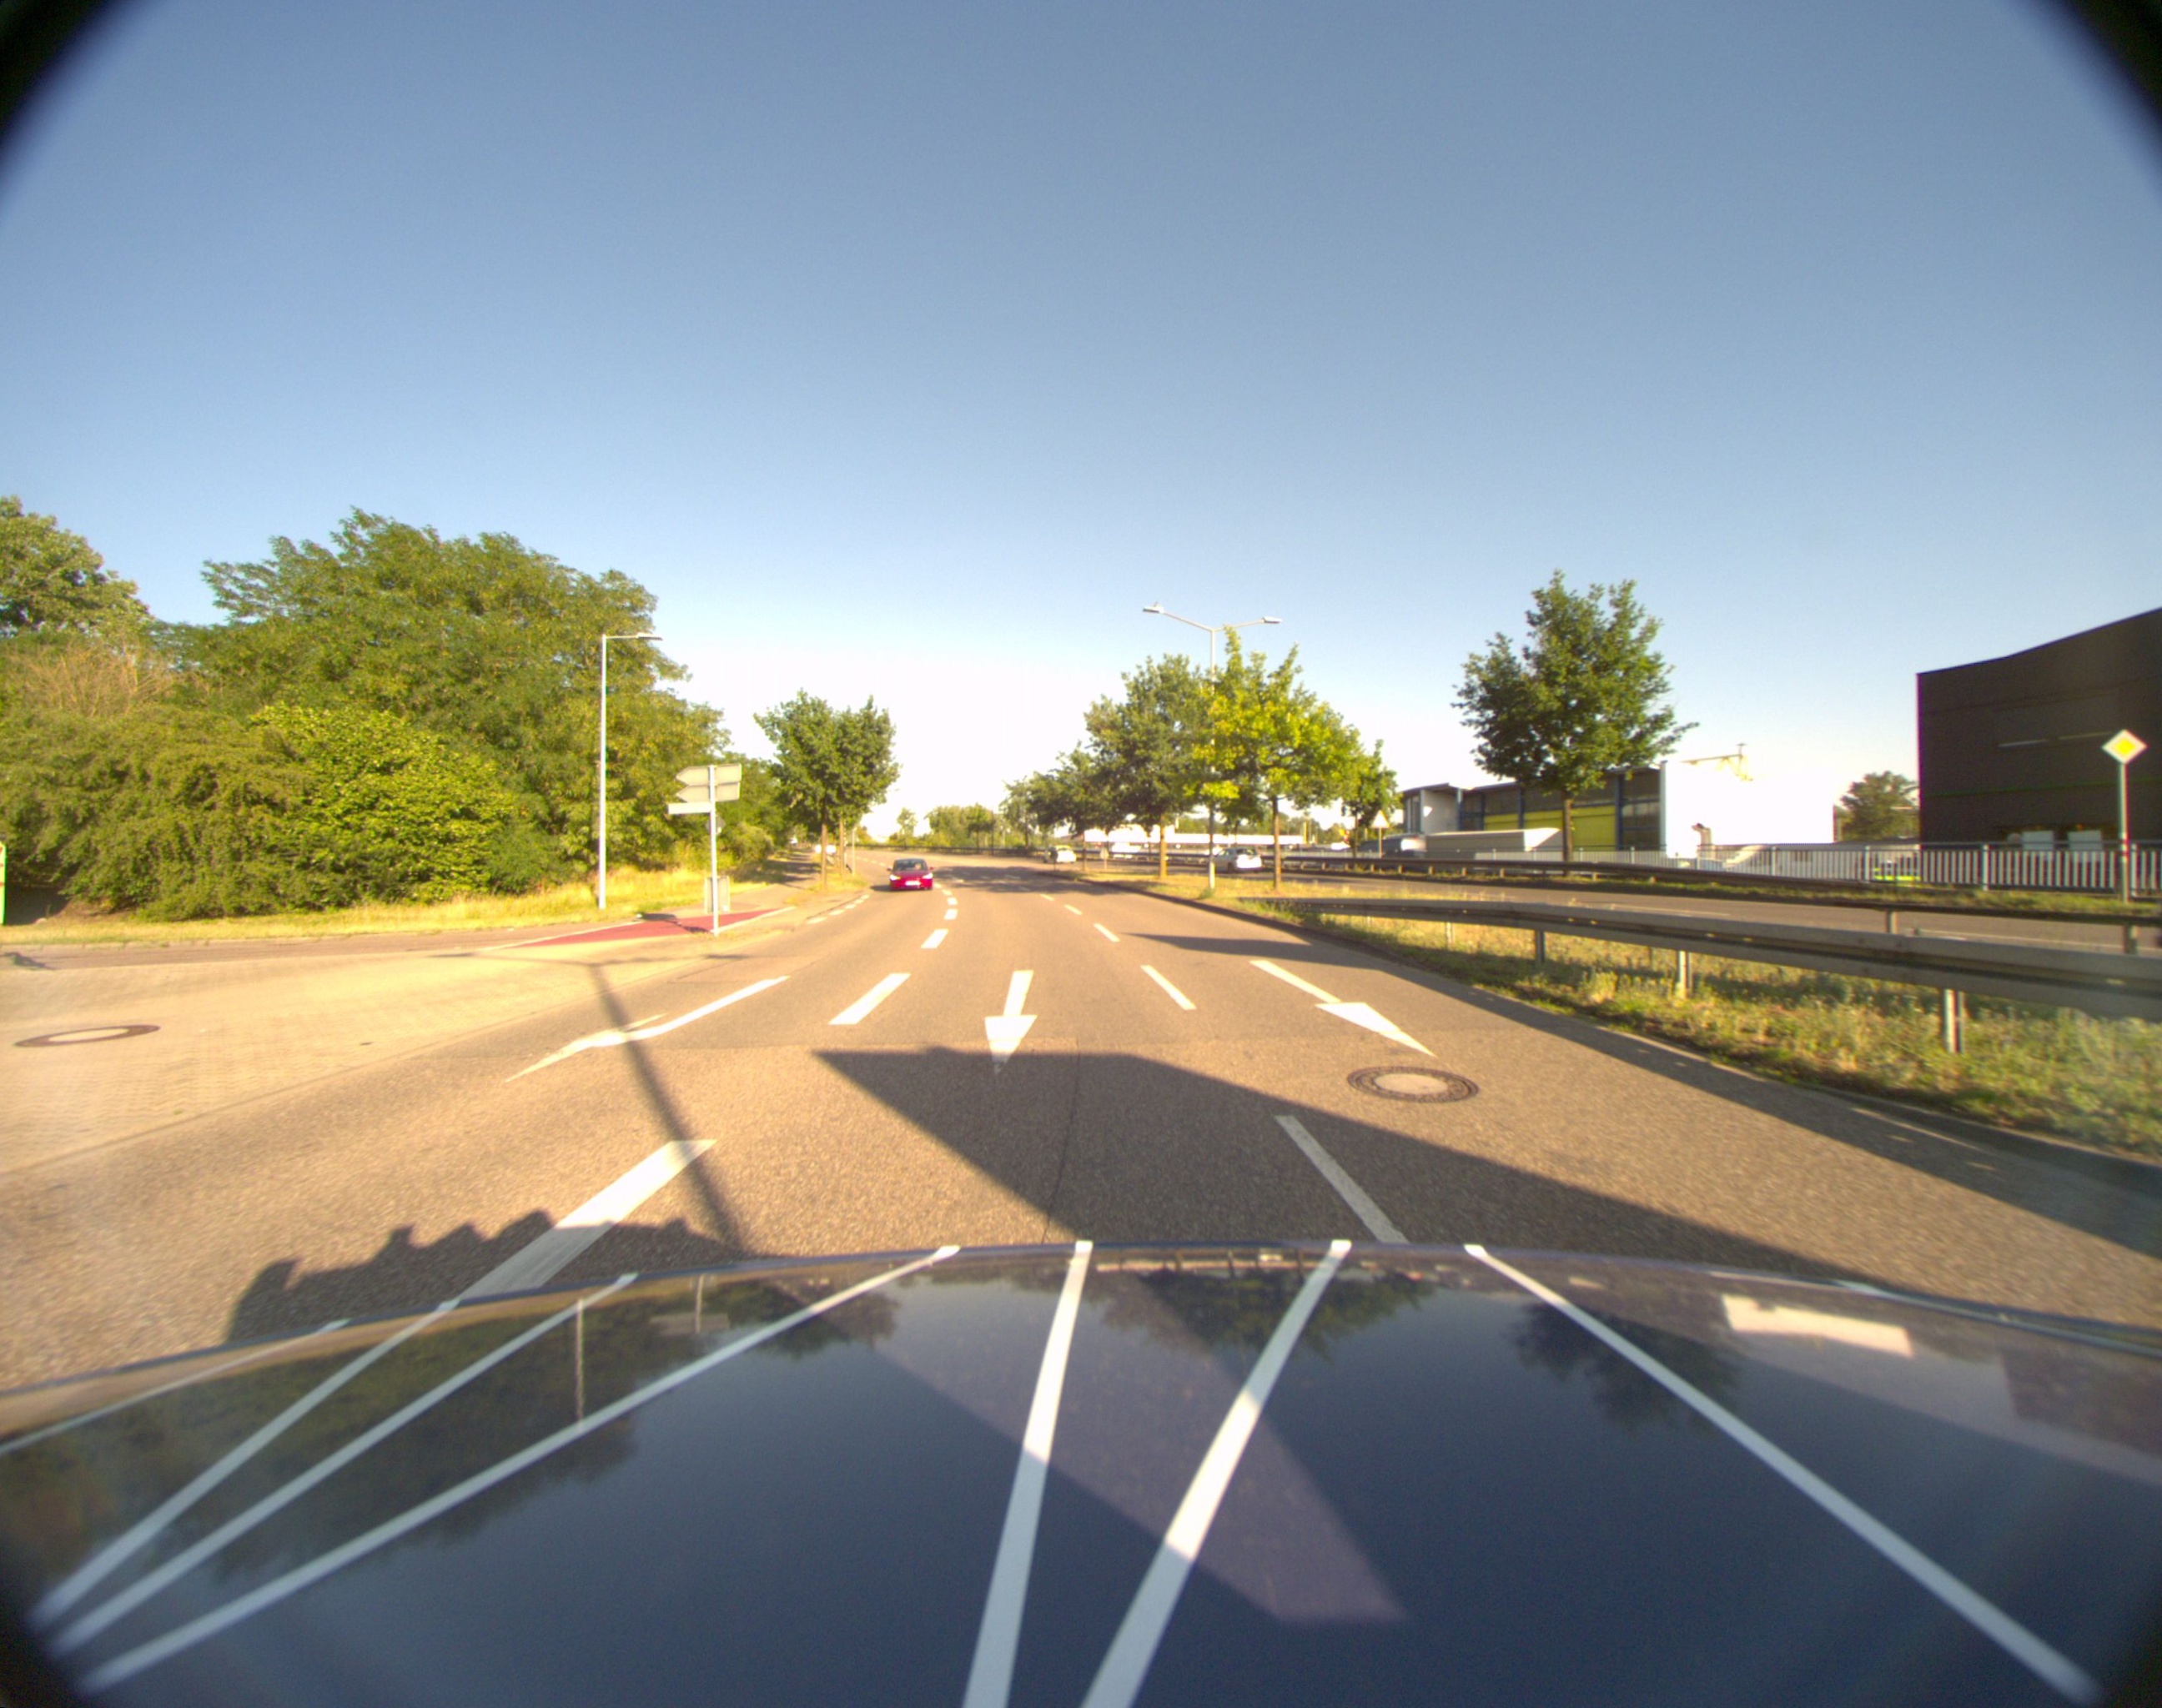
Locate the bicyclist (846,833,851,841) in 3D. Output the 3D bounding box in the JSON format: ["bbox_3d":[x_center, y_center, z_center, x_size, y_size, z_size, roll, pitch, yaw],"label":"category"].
[{"bbox_3d":[-44.219,-3.206,144.312,0.602,1.451,0.826,2,2,-32],"label":"bicyclist"}]

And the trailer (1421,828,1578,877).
[{"bbox_3d":[18.683,-0.123,34.477,2.428,1.959,6.596,-1,1,-14],"label":"trailer"}]

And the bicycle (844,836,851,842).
[{"bbox_3d":[-44.358,-2.850,144.455,0.585,1.071,2.306,2,1,-32],"label":"bicycle"}]

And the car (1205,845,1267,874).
[{"bbox_3d":[8.537,0.268,42.211,1.679,1.454,4.099,-1,1,-16],"label":"car"}]

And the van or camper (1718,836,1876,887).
[{"bbox_3d":[29.297,0.250,31.272,4.219,1.915,2.002,1,2,20],"label":"van or camper"}]

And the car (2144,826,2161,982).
[{"bbox_3d":[11.976,0.538,5.678,1.850,1.594,4.393,0,1,-1],"label":"car"}]

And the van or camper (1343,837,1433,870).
[{"bbox_3d":[16.680,-0.095,41.560,2.001,1.676,4.953,-1,1,-15],"label":"van or camper"}]

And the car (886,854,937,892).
[{"bbox_3d":[-7.822,0.819,34.748,1.784,1.434,4.351,-1,2,-19],"label":"car"}]

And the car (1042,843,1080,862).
[{"bbox_3d":[-1.696,-0.142,62.607,1.748,1.454,3.758,-2,1,-25],"label":"car"}]
